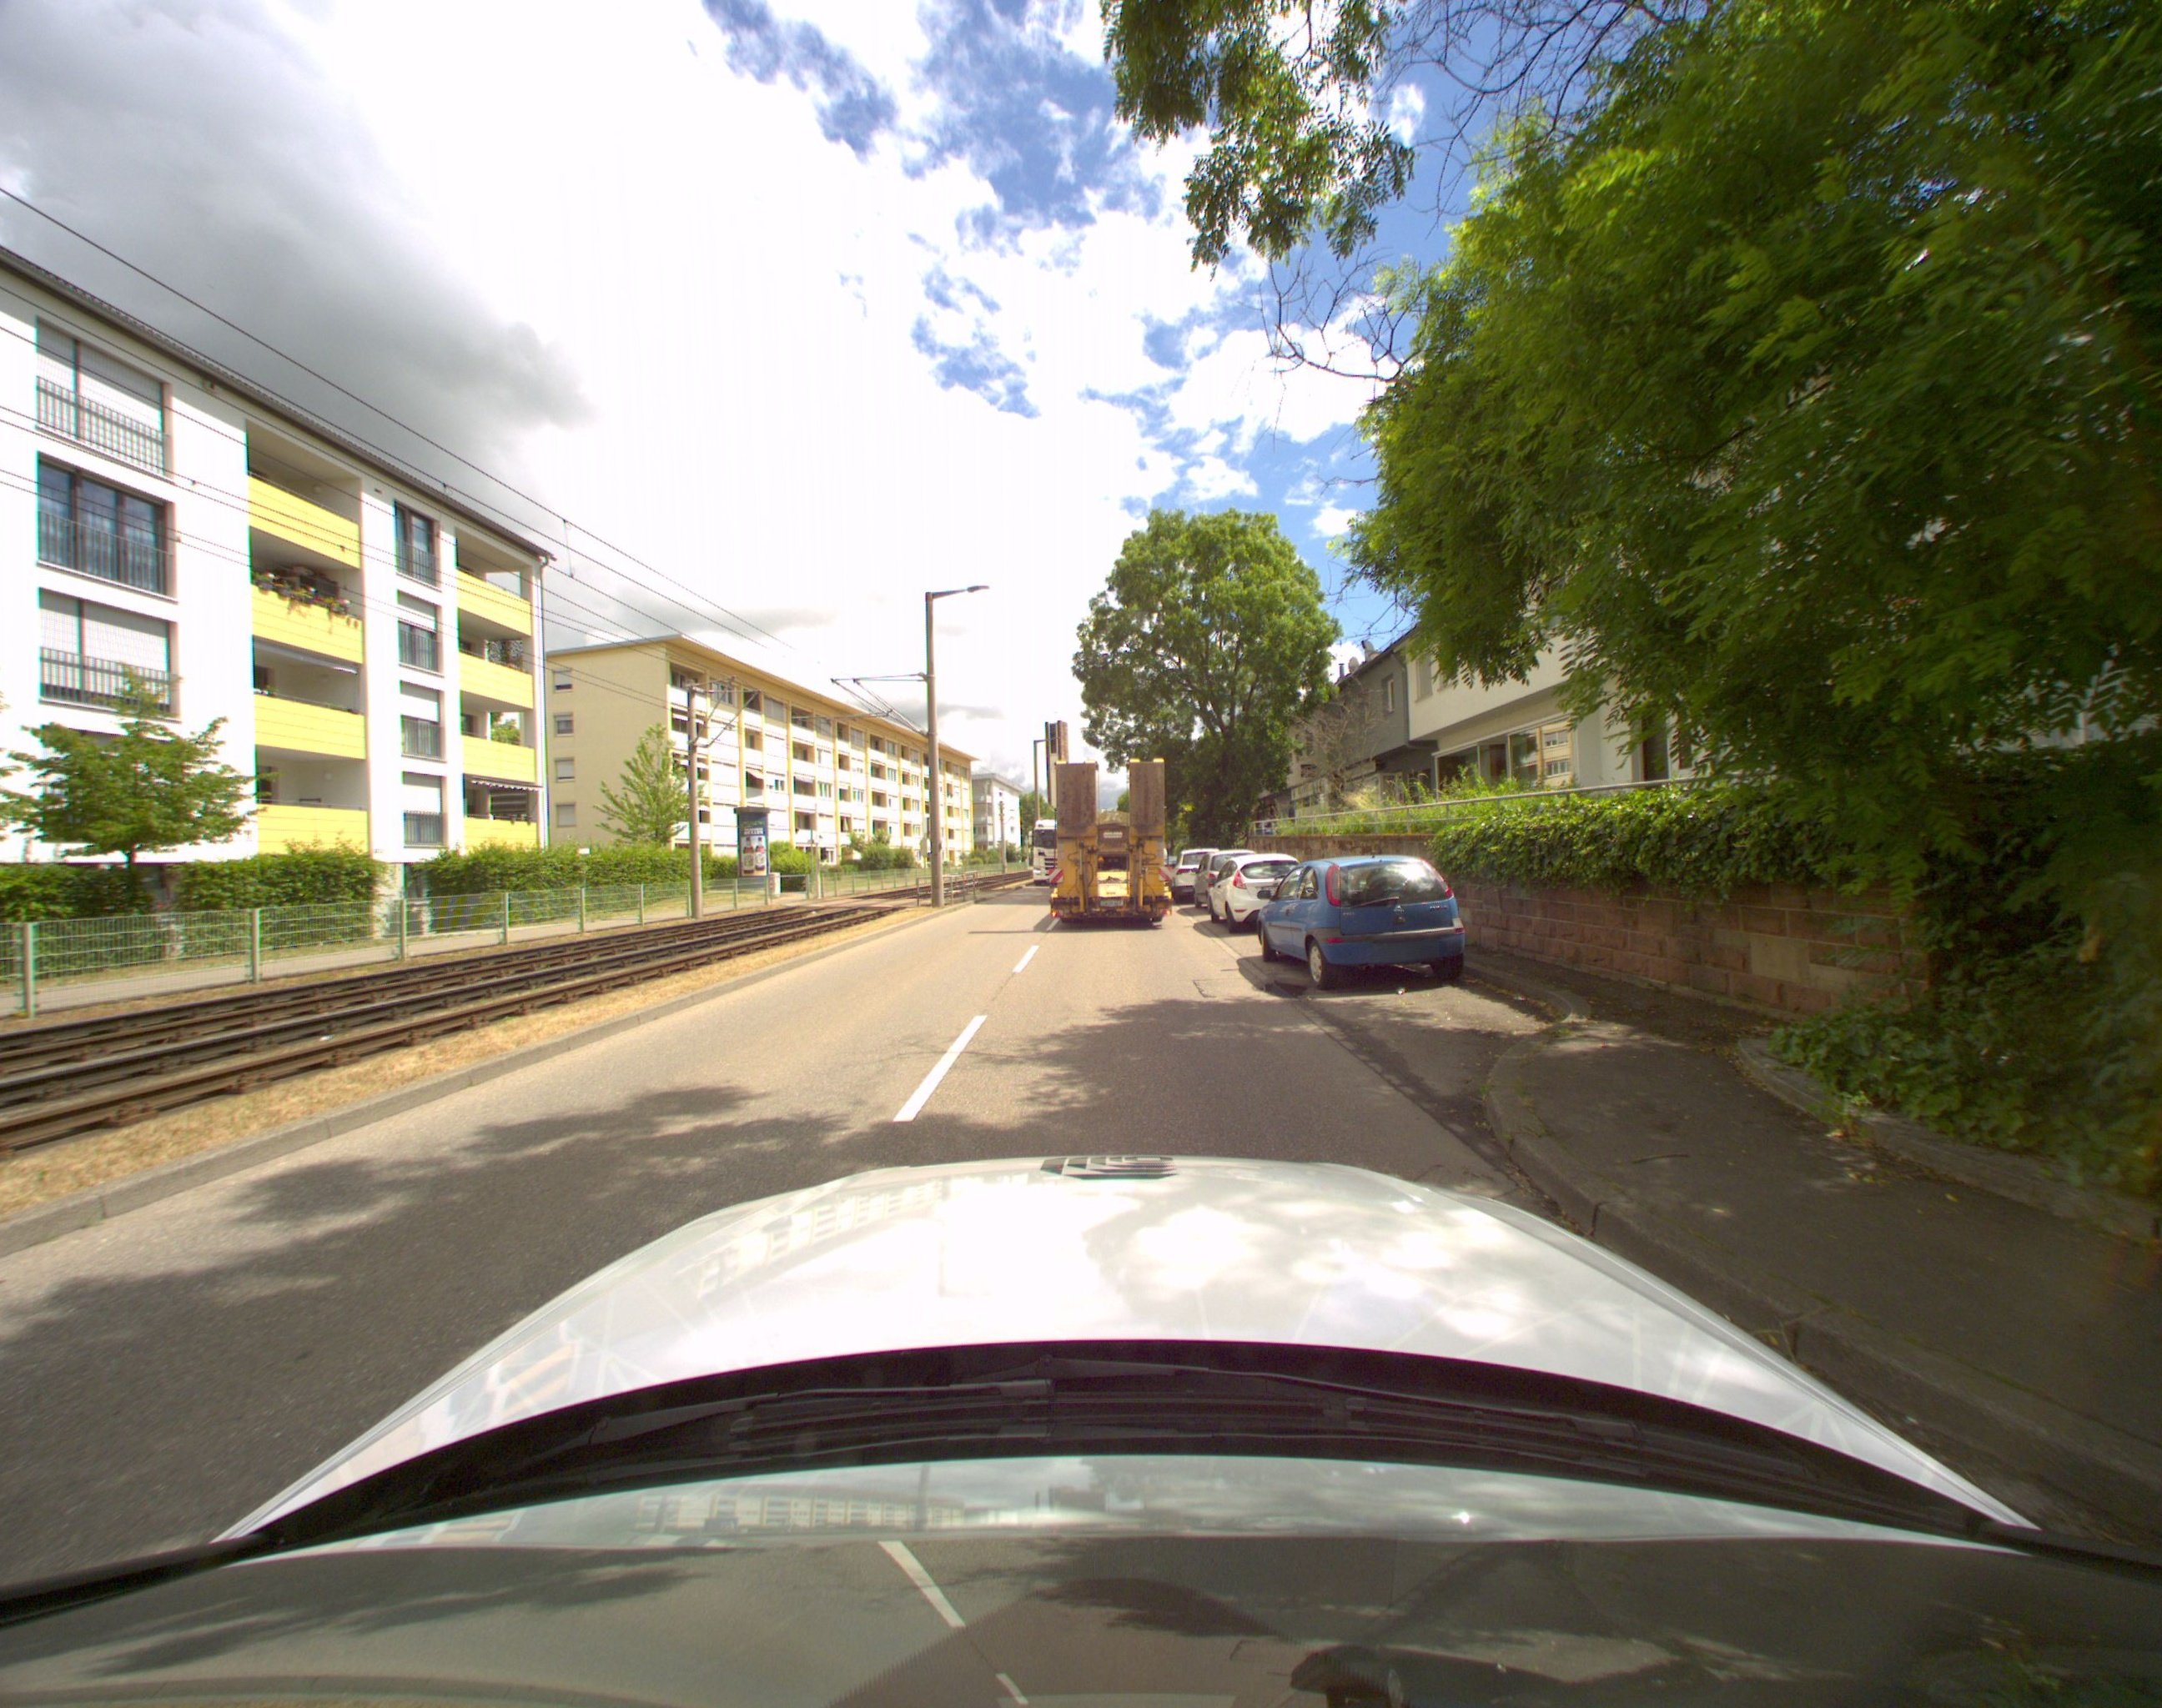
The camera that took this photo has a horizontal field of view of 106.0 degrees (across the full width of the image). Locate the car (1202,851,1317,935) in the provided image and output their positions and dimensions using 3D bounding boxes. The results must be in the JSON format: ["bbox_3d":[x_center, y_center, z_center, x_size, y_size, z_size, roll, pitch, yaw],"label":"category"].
[{"bbox_3d":[3.556,0.709,16.880,1.639,1.490,3.824,-2,0,2],"label":"car"}]

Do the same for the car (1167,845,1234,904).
[{"bbox_3d":[3.816,0.610,26.700,1.815,1.682,4.581,-2,0,4],"label":"car"}]

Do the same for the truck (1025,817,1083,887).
[{"bbox_3d":[-1.402,-0.118,45.298,2.687,3.580,6.148,-1,0,2],"label":"truck"}]

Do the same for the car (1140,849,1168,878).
[{"bbox_3d":[5.340,0.639,59.904,1.792,1.968,4.593,-3,0,3],"label":"car"}]

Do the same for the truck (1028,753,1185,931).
[{"bbox_3d":[0.658,-0.266,22.880,3.113,3.564,12.462,-2,0,1],"label":"truck"}]

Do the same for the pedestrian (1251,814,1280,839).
[{"bbox_3d":[6.052,-0.901,26.770,0.792,0.790,0.705,-2,0,1],"label":"pedestrian"}]

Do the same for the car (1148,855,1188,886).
[{"bbox_3d":[4.462,0.822,42.177,1.828,1.405,4.418,-3,0,4],"label":"car"}]

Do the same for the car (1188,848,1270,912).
[{"bbox_3d":[3.905,0.638,21.950,1.576,1.552,3.475,-2,0,0],"label":"car"}]

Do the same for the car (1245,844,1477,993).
[{"bbox_3d":[3.297,0.675,10.335,1.603,1.456,3.675,-3,0,0],"label":"car"}]
